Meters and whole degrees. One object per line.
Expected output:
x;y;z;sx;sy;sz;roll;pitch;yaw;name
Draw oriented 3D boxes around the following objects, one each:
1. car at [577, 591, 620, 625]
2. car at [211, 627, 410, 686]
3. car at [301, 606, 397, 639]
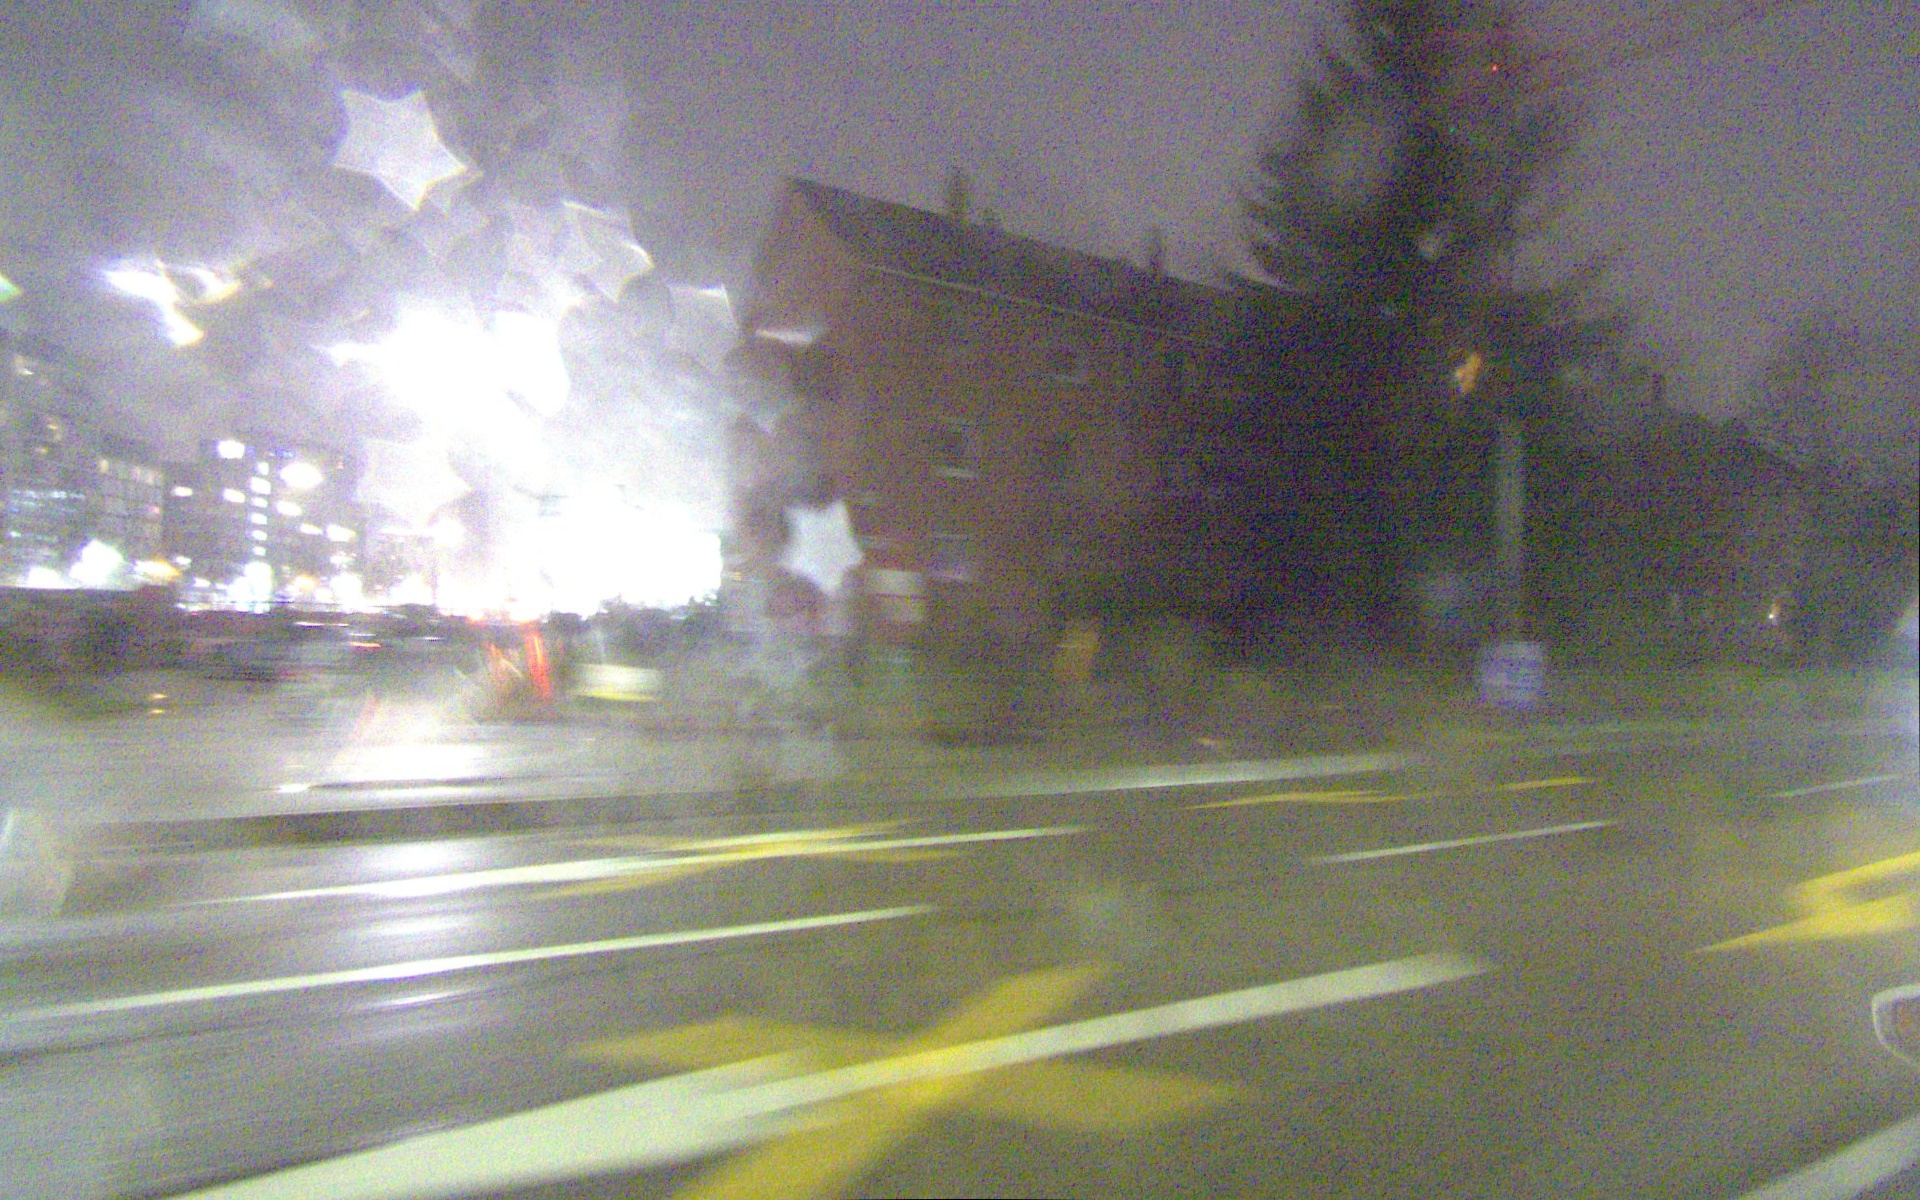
-21.446;0.519;59.679;1.966;1.862;3.793;1;-2;-14;car
-15.754;1.359;24.505;3.749;1.353;1.536;1;-1;-6;car
-36.093;1.351;59.480;4.361;1.642;1.993;4;-2;-17;car
